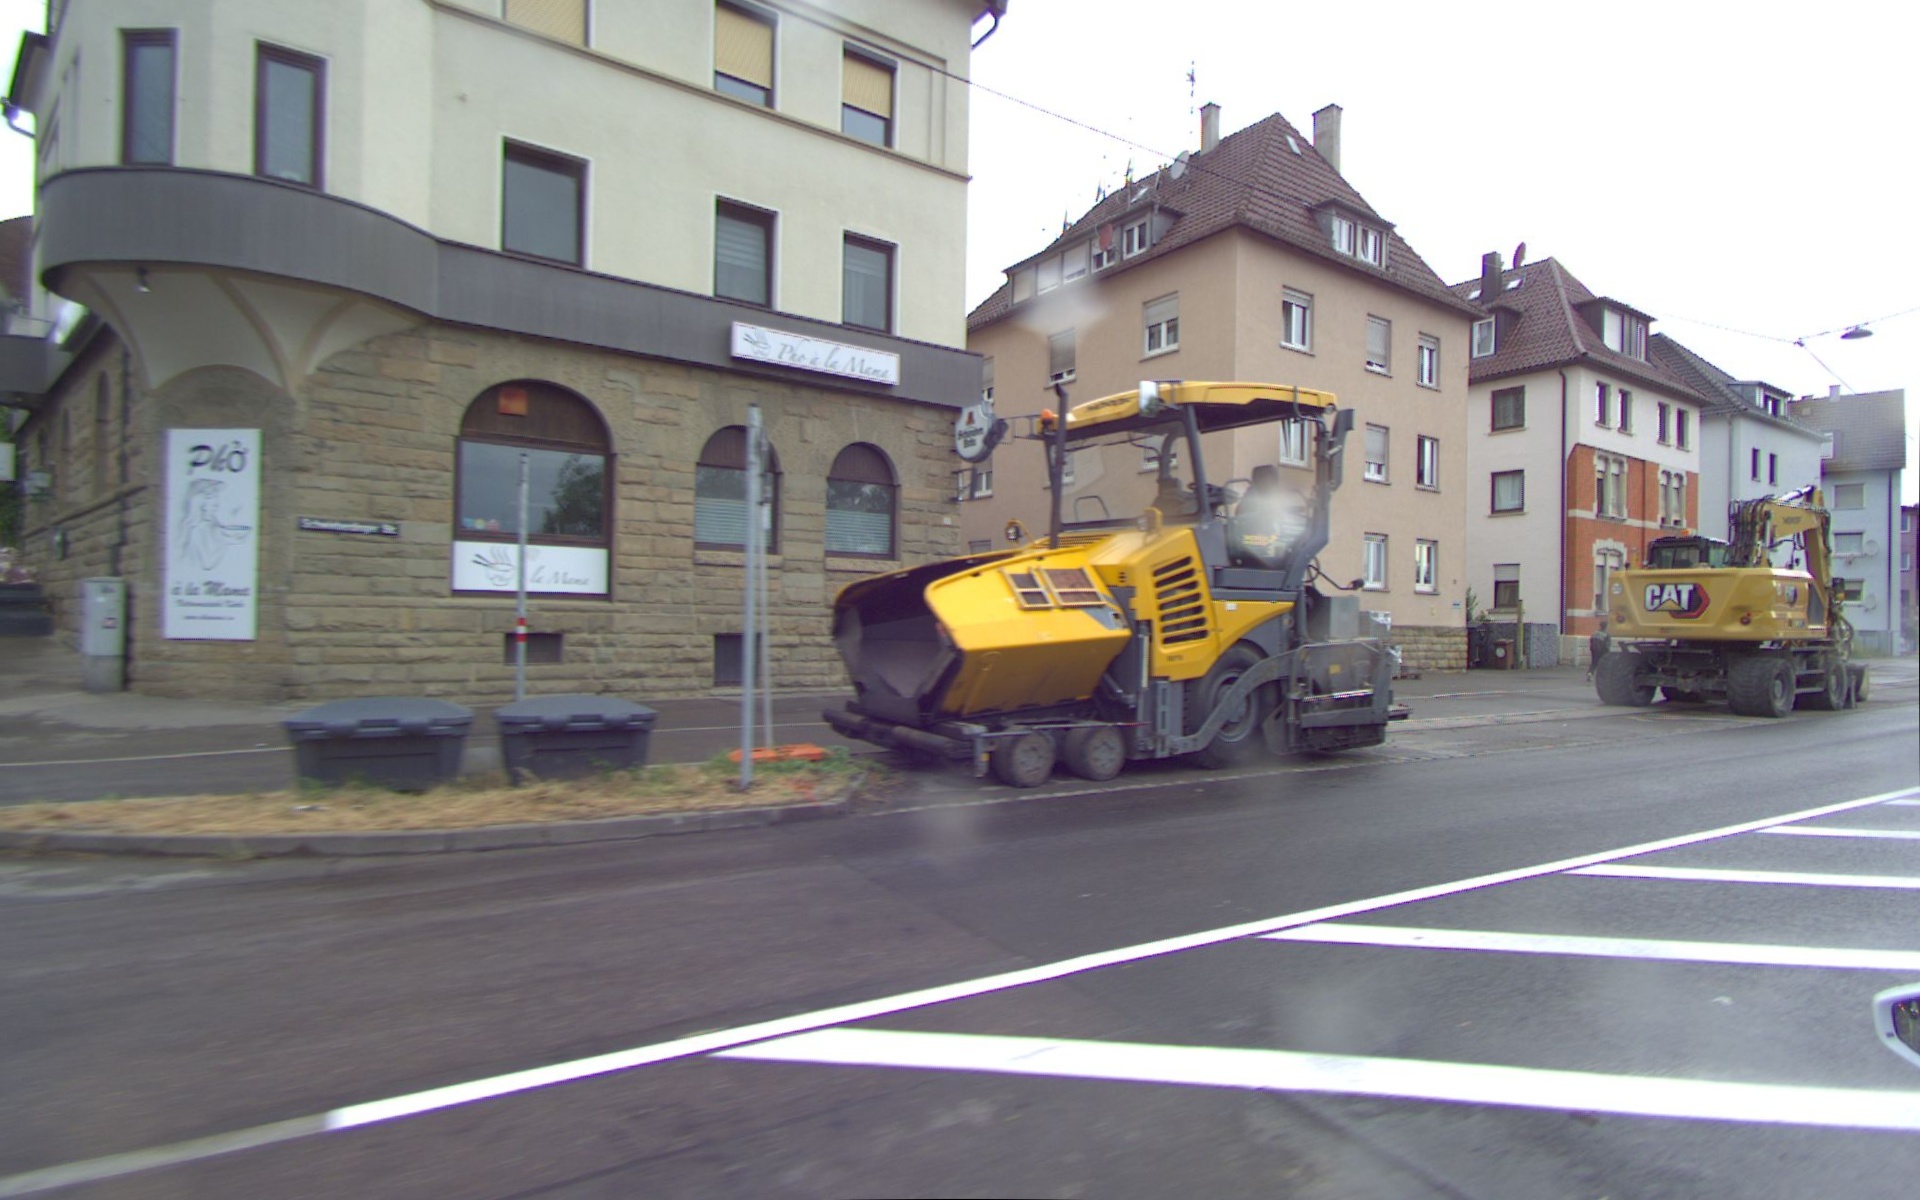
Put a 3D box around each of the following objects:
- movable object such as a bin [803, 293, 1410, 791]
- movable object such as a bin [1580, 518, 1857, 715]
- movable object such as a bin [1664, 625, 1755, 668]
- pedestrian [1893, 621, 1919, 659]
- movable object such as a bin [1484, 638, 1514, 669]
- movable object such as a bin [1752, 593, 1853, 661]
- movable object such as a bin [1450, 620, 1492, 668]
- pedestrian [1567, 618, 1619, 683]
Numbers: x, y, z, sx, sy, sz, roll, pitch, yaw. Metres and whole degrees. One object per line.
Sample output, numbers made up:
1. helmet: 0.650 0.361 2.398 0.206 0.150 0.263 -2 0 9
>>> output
1. movable object such as a bin: 1.624 -0.489 10.595 5.916 3.908 2.761 -1 1 -30
2. movable object such as a bin: 14.114 0.311 18.715 4.081 3.215 2.854 2 0 -33
3. movable object such as a bin: 26.441 1.649 35.398 3.964 1.372 1.542 3 -1 -37
4. pedestrian: 54.111 2.270 57.407 1.045 2.041 1.069 -1 2 -44
5. movable object such as a bin: 16.582 1.632 30.891 0.570 0.910 0.629 -1 2 -38
6. movable object such as a bin: 35.655 1.065 42.481 4.577 2.719 1.982 -1 1 -33
7. movable object such as a bin: 16.014 1.353 31.460 0.949 1.431 0.846 -1 2 -38
8. pedestrian: 16.440 1.286 26.086 1.080 1.610 0.759 -1 1 -34
